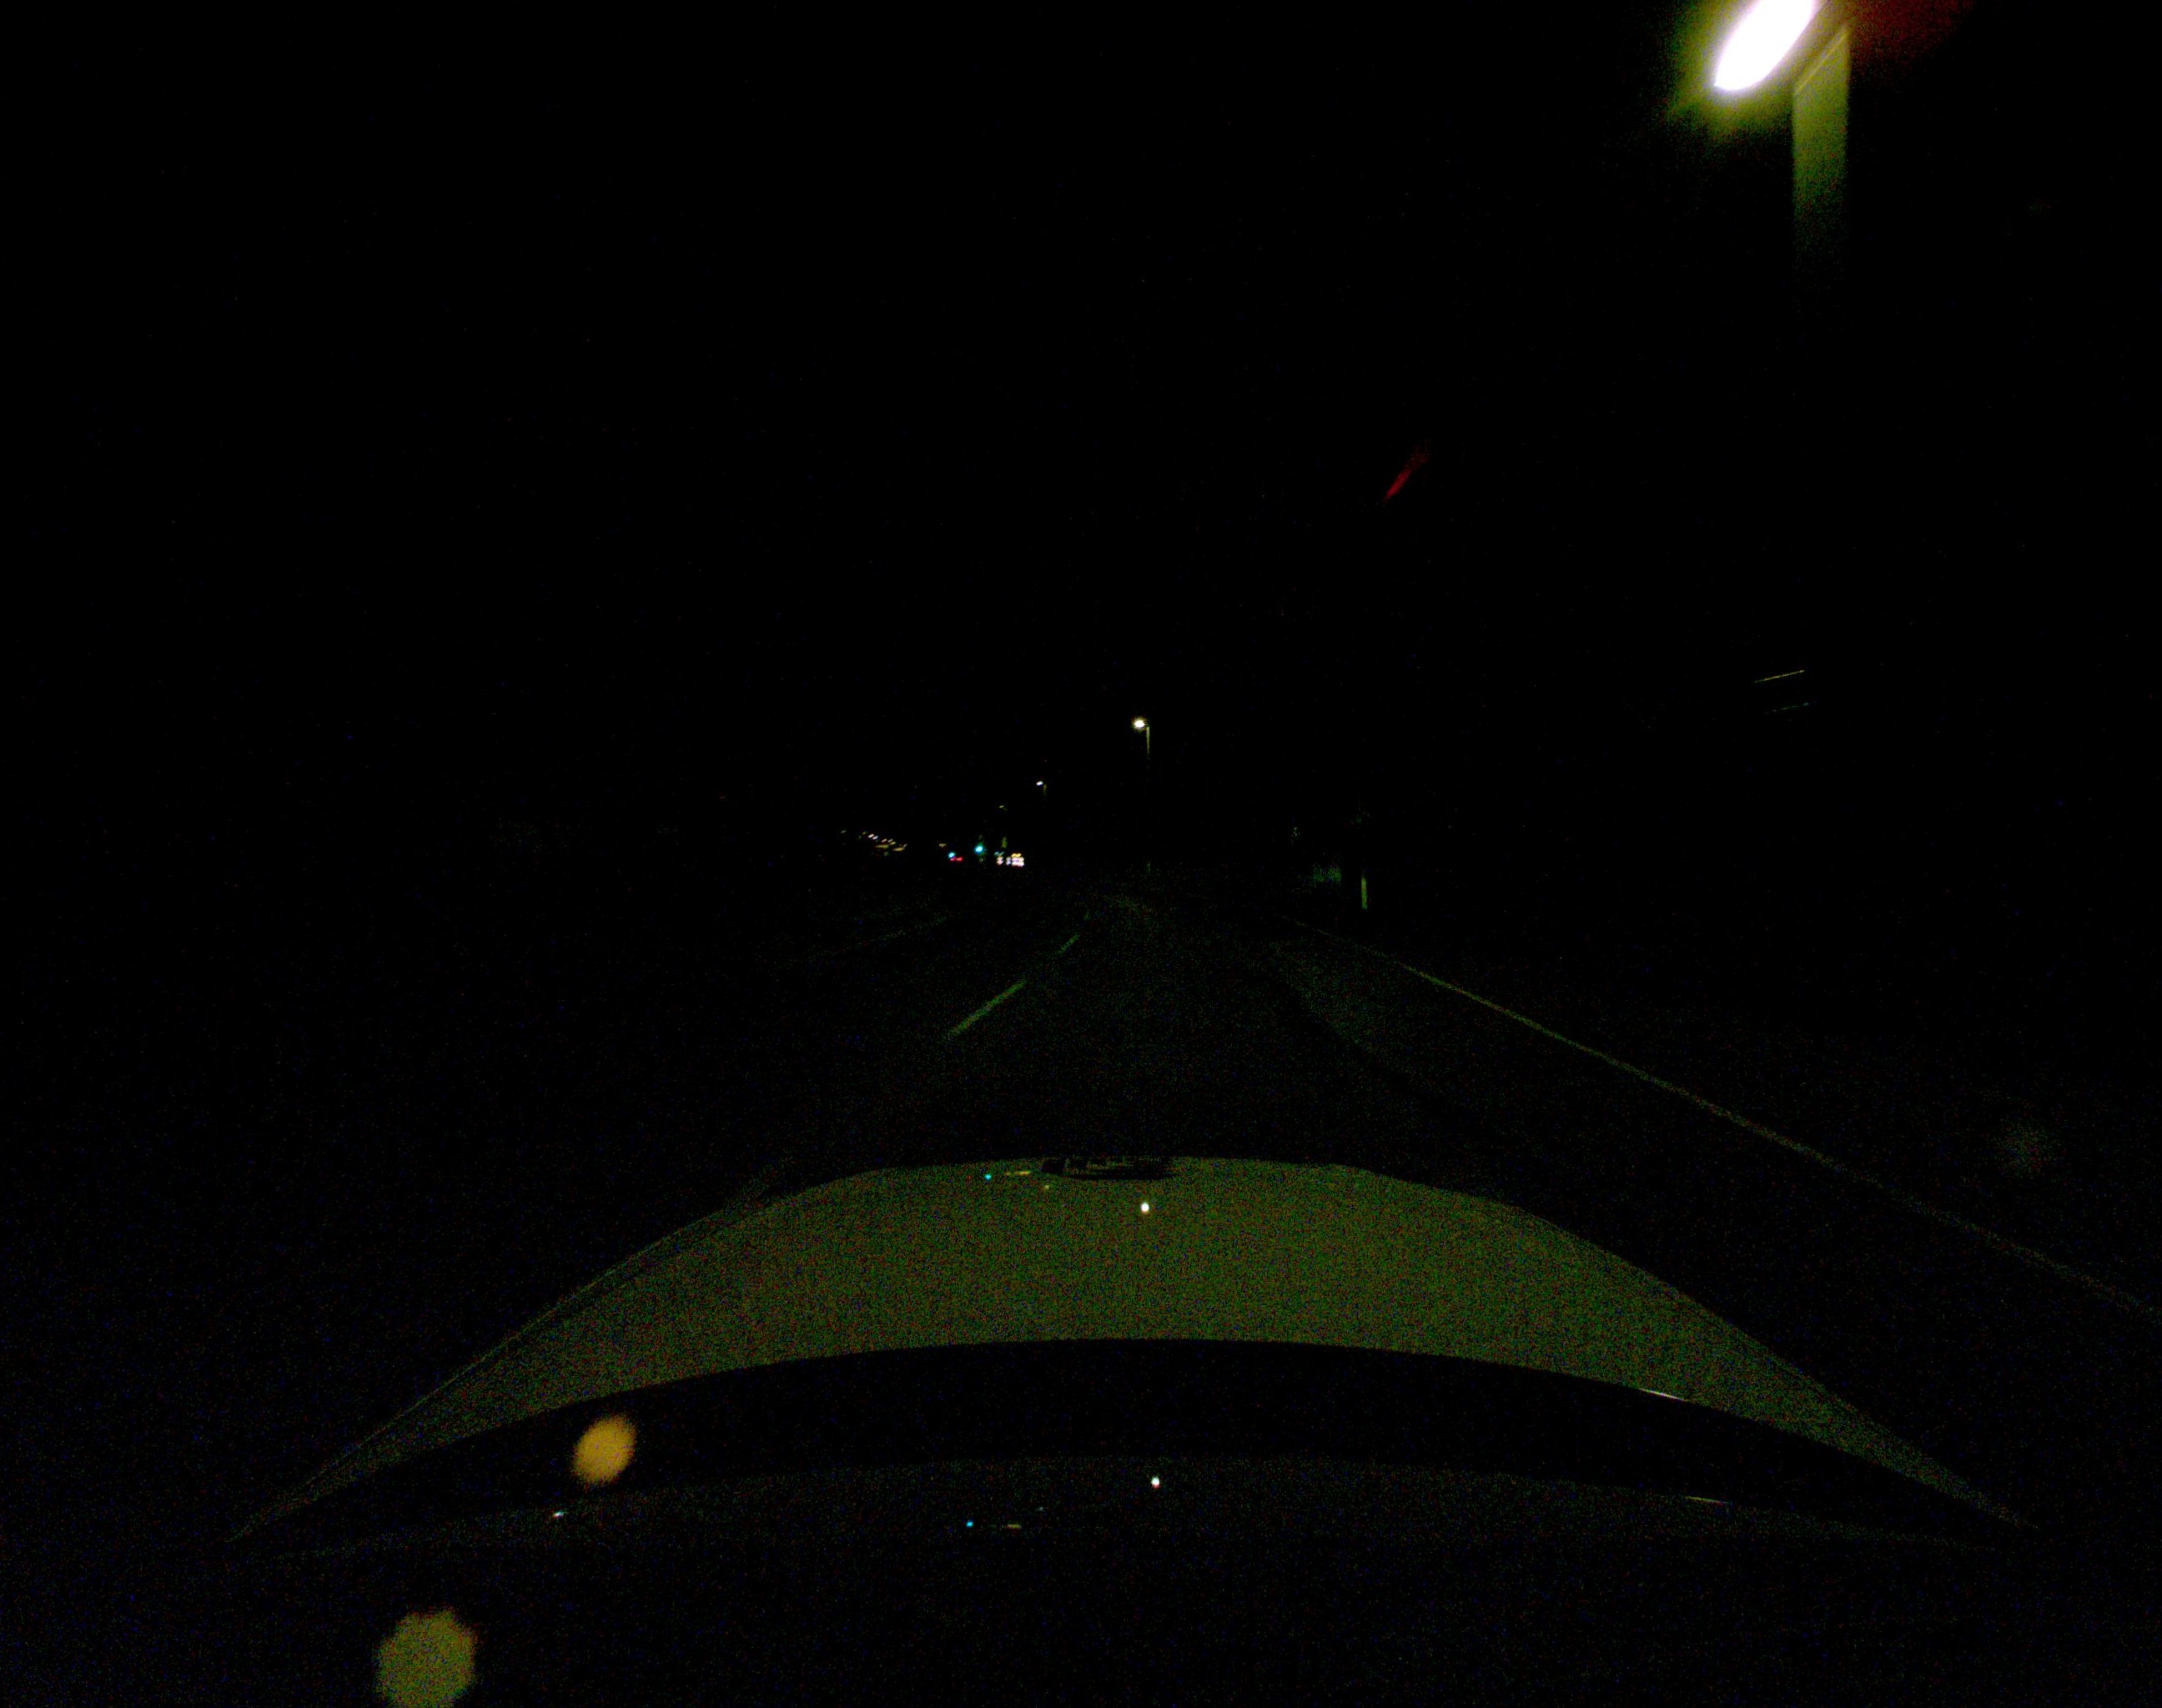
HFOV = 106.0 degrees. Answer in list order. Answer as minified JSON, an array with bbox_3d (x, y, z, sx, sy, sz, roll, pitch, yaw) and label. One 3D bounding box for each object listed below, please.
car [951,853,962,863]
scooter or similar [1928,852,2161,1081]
[{"bbox_3d":[-25.273,0.828,165.572,2.088,2.013,3.986,-1,0,-10],"label":"car"},{"bbox_3d":[6.338,0.636,4.863,0.613,1.281,1.681,0,1,-16],"label":"scooter or similar"}]
